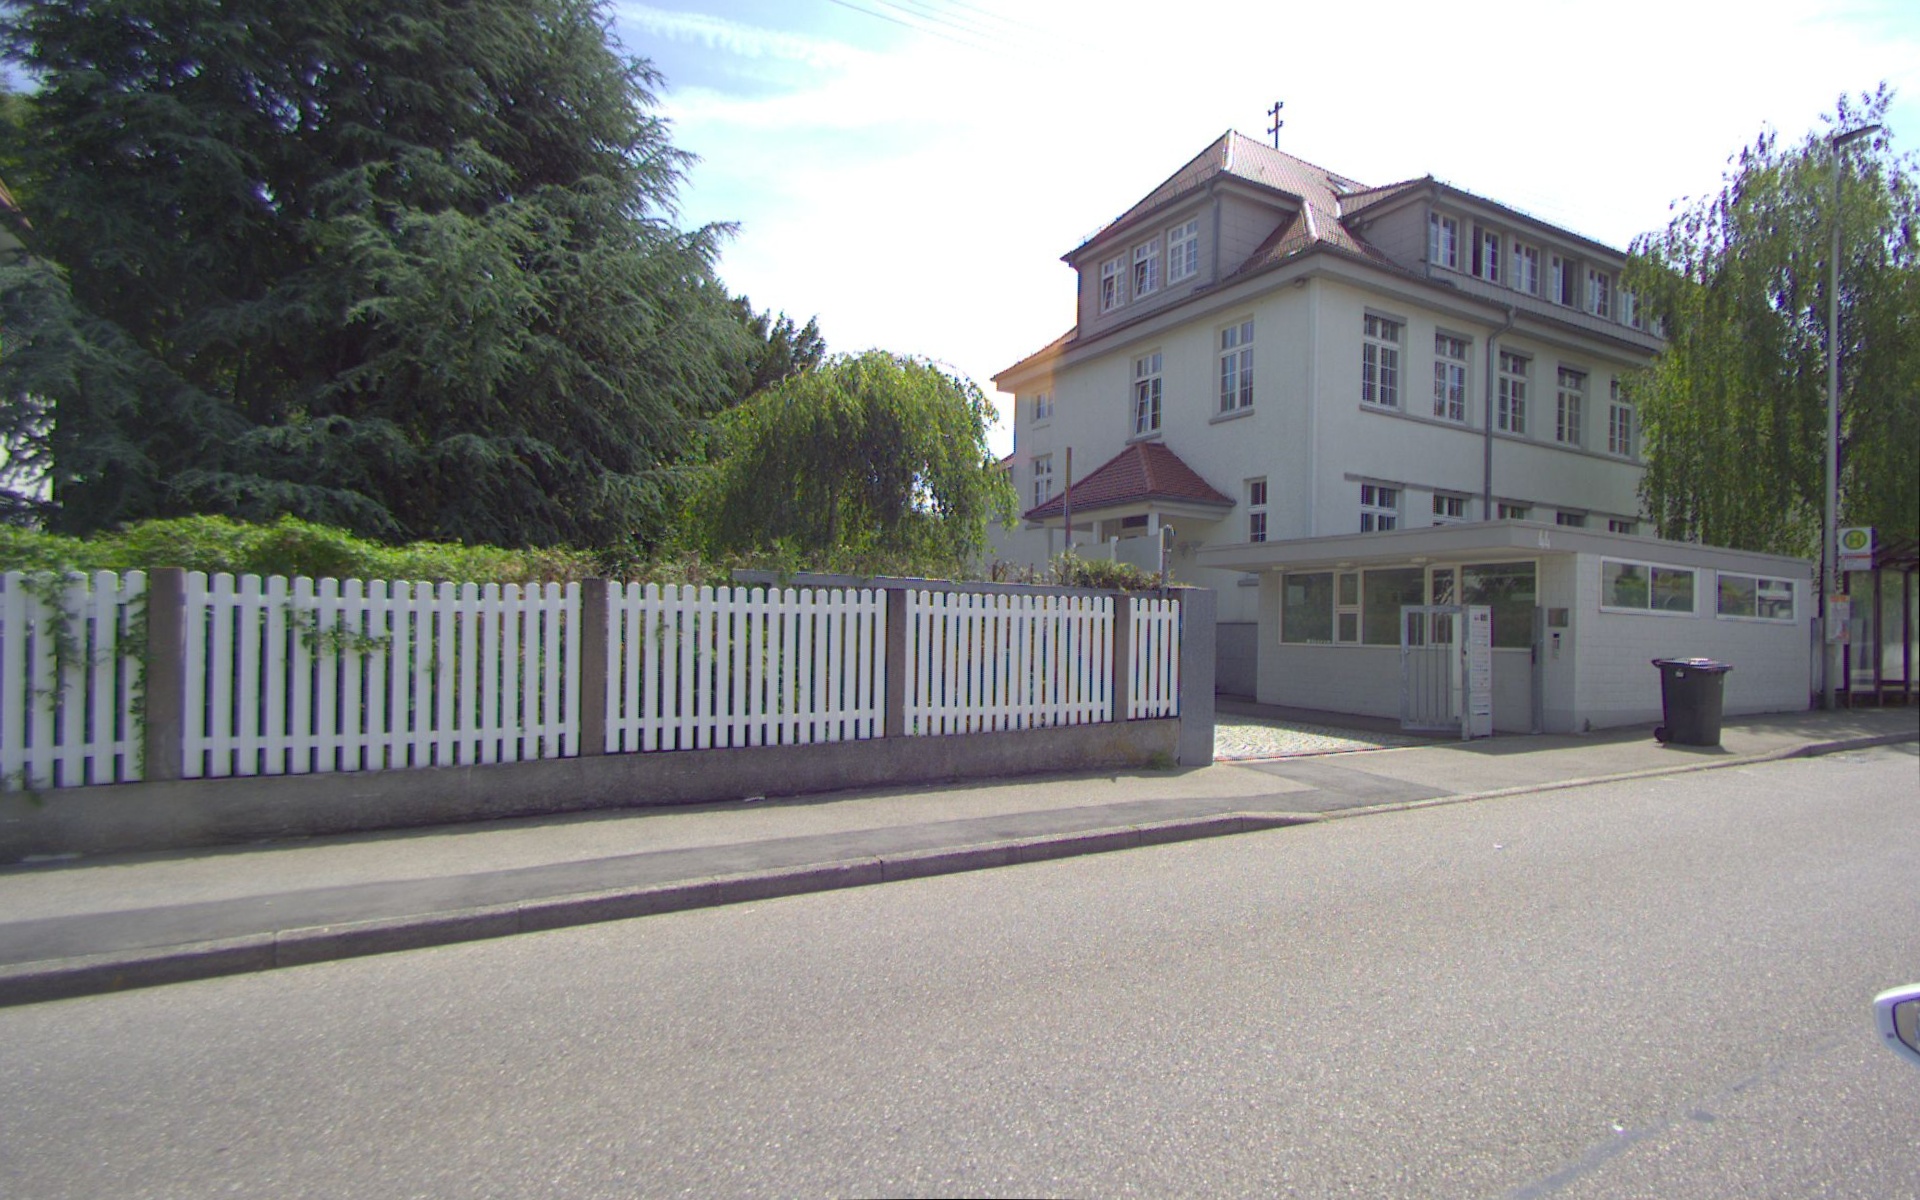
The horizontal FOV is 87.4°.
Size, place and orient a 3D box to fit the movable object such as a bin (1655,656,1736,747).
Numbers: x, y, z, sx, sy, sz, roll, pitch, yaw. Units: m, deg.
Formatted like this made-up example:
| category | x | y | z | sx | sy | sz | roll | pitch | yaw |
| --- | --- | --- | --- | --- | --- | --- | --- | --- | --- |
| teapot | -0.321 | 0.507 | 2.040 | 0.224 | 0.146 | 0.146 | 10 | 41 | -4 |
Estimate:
| category | x | y | z | sx | sy | sz | roll | pitch | yaw |
| --- | --- | --- | --- | --- | --- | --- | --- | --- | --- |
| movable object such as a bin | 9.389 | 1.277 | 12.822 | 0.716 | 1.060 | 0.605 | -1 | 0 | -30 |
